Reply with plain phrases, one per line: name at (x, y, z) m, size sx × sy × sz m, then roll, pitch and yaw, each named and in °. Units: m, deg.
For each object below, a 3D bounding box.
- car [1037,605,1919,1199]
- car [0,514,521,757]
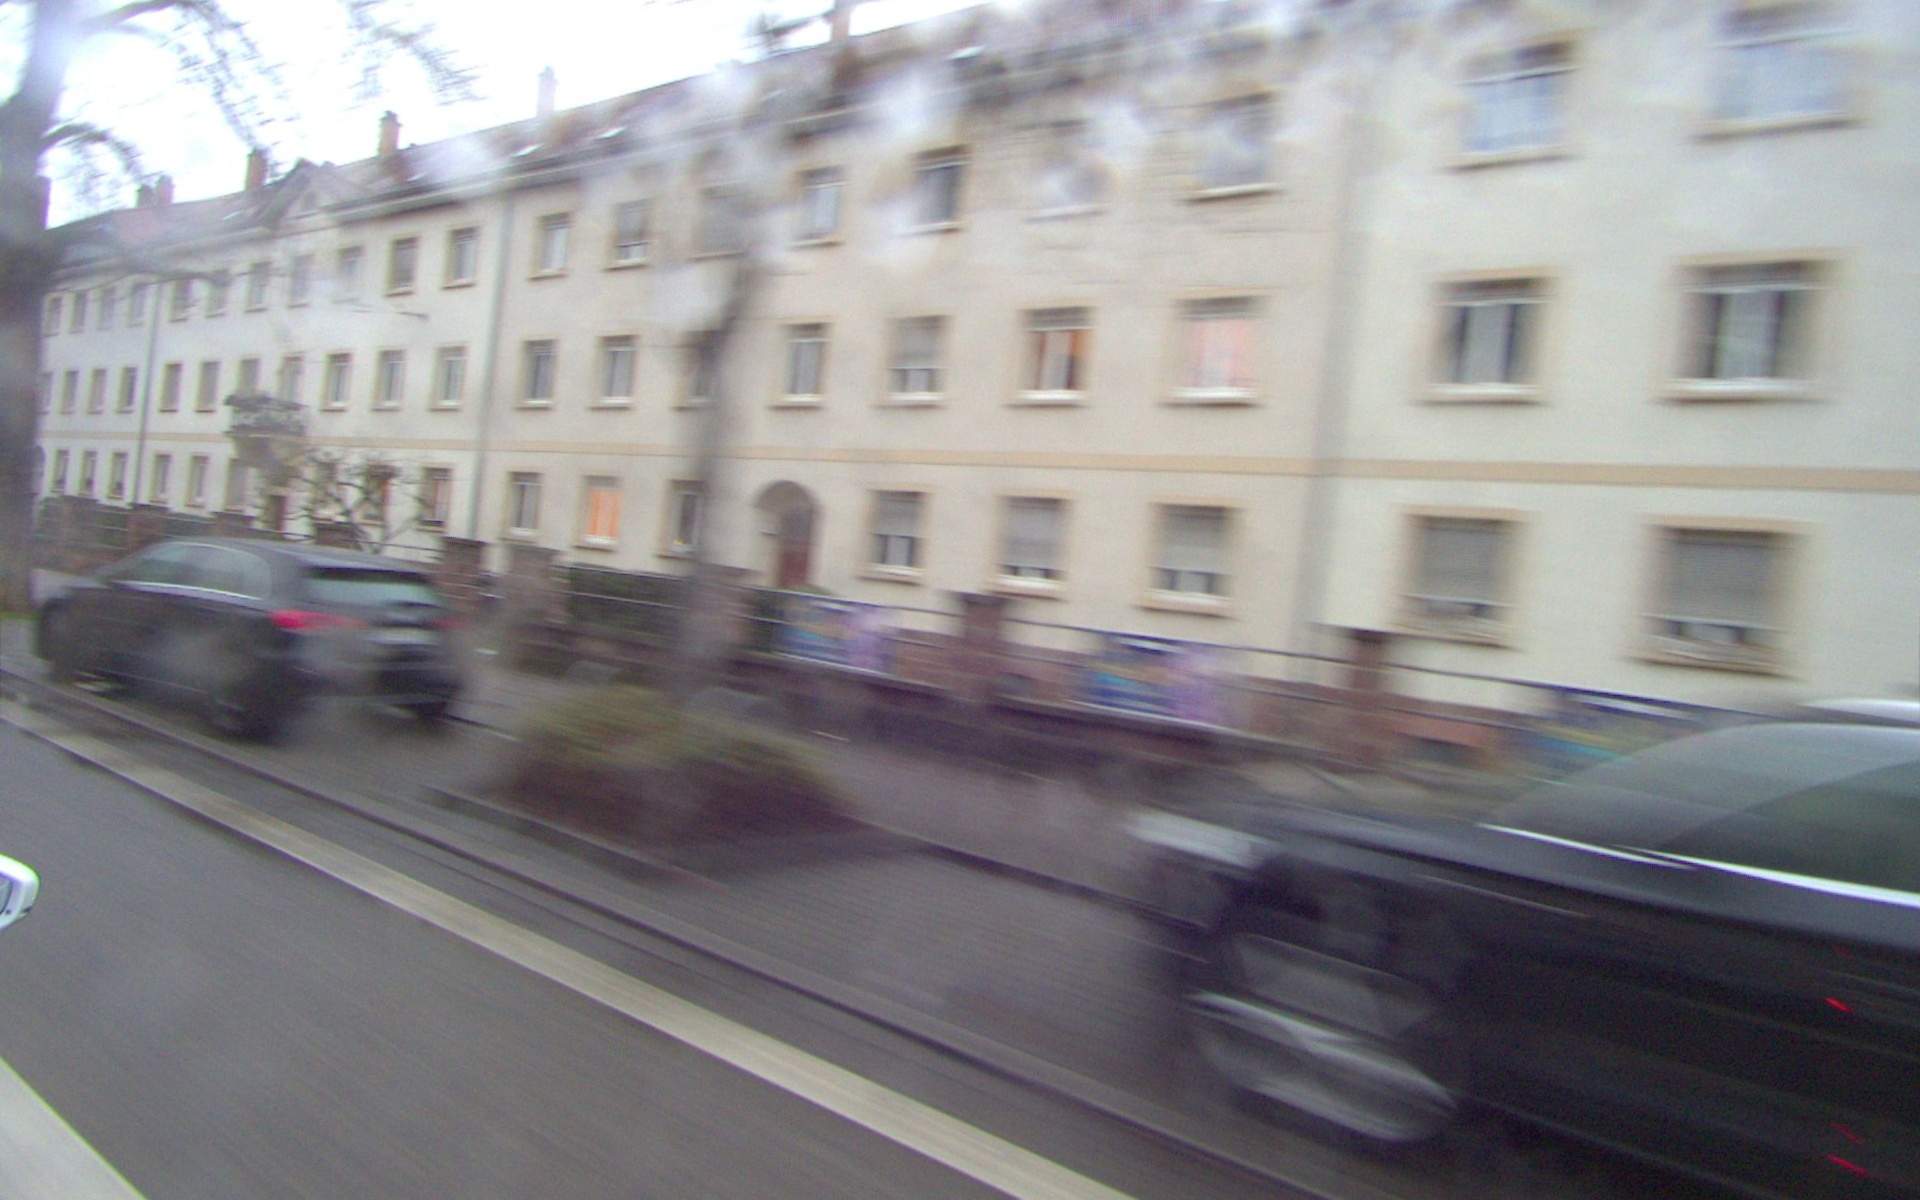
car at (2.744, 1.101, 3.268) m, size 4.487 × 1.629 × 1.908 m, roll 6°, pitch -1°, yaw 33°
car at (-6.116, 0.222, 8.716) m, size 4.268 × 1.437 × 1.883 m, roll 6°, pitch 0°, yaw 28°
